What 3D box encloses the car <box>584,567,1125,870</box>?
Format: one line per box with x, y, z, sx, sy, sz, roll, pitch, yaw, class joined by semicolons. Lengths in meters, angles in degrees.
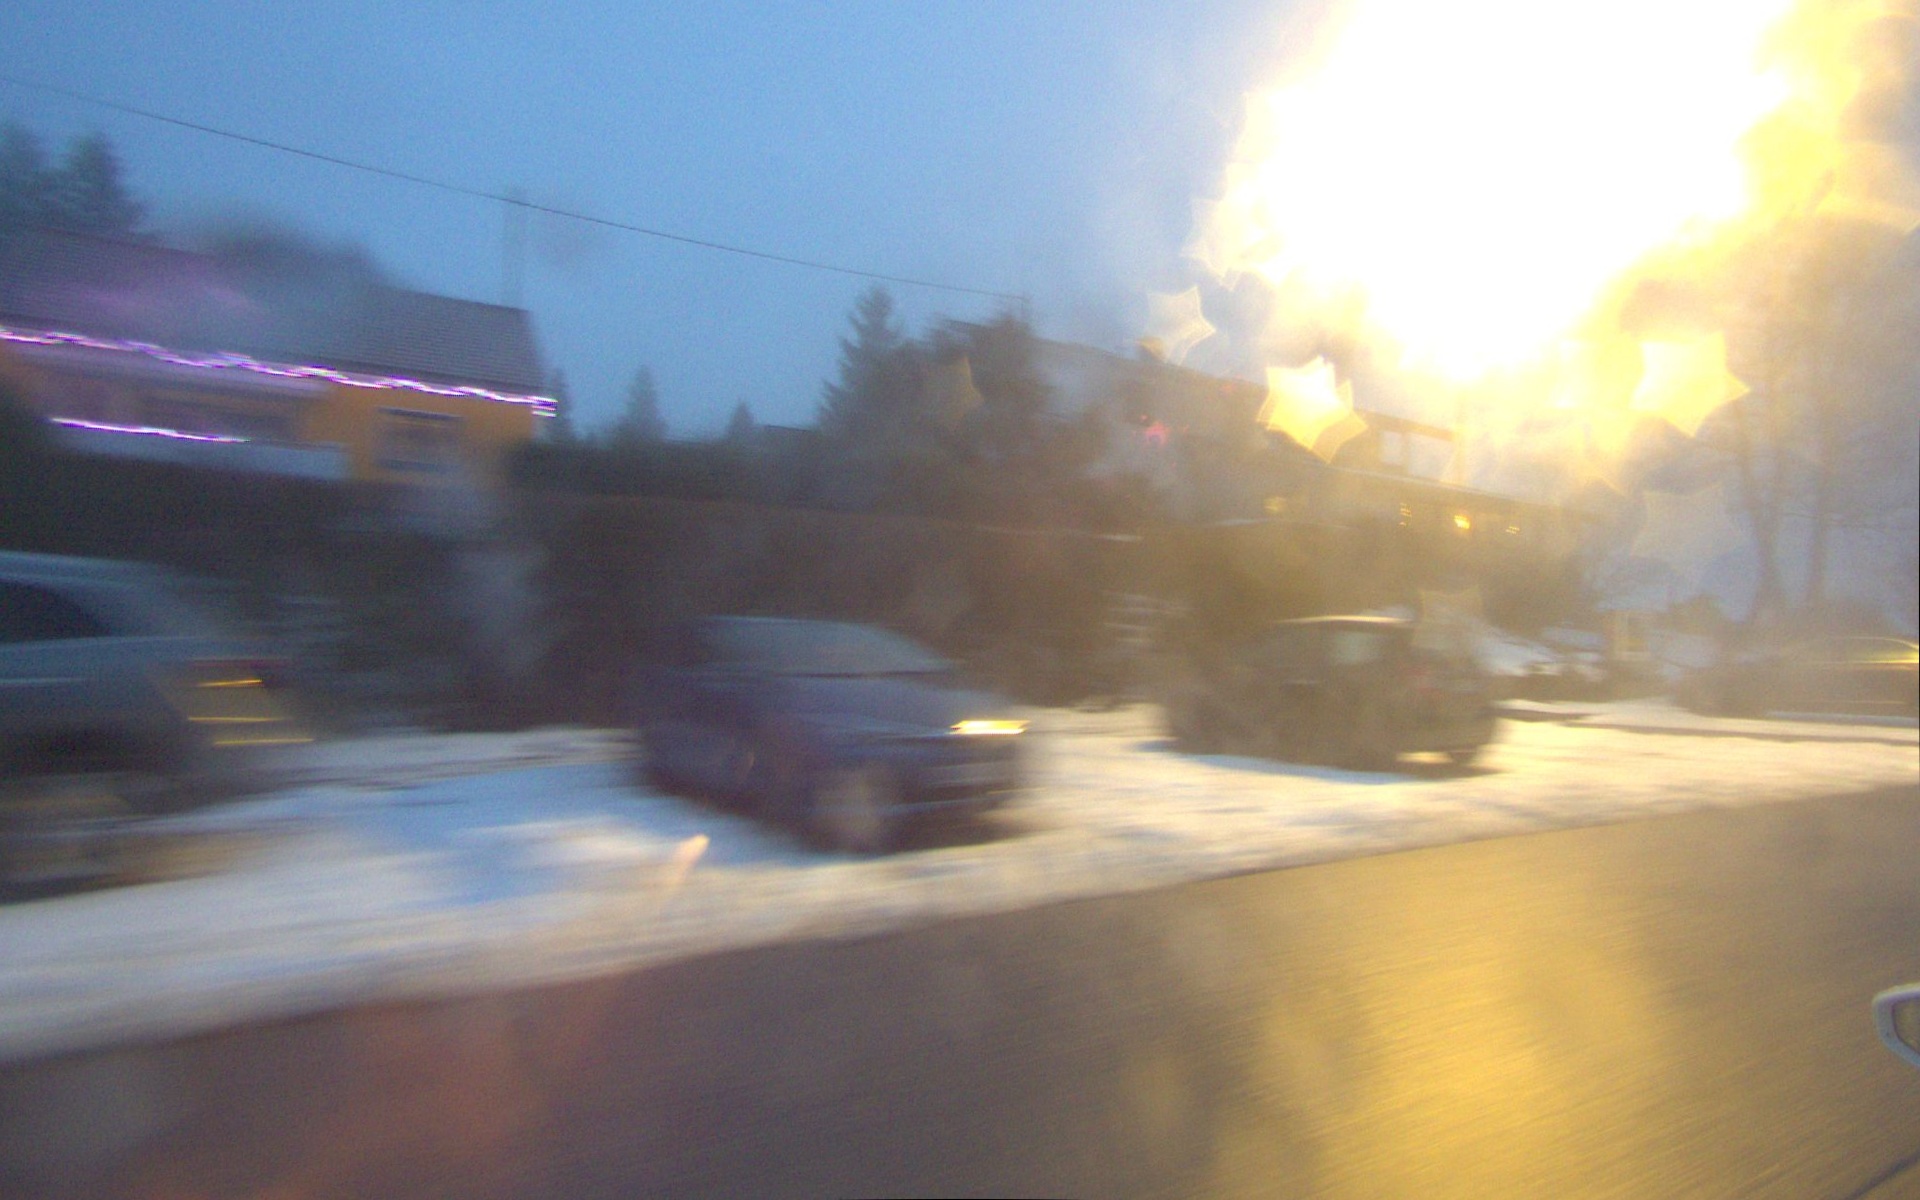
-1.103;0.710;7.722;2.092;1.587;4.493;2;-3;-38;car

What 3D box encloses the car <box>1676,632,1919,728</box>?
15.386;1.309;17.025;2.099;1.504;4.864;2;-3;-30;car

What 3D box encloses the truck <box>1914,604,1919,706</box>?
24.088;1.203;21.300;1.977;2.333;5.236;1;-3;-31;truck

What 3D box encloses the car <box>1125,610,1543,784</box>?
3.786;0.911;10.764;1.919;1.491;3.831;2;-3;-34;car

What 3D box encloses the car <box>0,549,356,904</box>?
-5.739;0.565;4.373;1.971;1.586;4.972;-3;-4;41;car
